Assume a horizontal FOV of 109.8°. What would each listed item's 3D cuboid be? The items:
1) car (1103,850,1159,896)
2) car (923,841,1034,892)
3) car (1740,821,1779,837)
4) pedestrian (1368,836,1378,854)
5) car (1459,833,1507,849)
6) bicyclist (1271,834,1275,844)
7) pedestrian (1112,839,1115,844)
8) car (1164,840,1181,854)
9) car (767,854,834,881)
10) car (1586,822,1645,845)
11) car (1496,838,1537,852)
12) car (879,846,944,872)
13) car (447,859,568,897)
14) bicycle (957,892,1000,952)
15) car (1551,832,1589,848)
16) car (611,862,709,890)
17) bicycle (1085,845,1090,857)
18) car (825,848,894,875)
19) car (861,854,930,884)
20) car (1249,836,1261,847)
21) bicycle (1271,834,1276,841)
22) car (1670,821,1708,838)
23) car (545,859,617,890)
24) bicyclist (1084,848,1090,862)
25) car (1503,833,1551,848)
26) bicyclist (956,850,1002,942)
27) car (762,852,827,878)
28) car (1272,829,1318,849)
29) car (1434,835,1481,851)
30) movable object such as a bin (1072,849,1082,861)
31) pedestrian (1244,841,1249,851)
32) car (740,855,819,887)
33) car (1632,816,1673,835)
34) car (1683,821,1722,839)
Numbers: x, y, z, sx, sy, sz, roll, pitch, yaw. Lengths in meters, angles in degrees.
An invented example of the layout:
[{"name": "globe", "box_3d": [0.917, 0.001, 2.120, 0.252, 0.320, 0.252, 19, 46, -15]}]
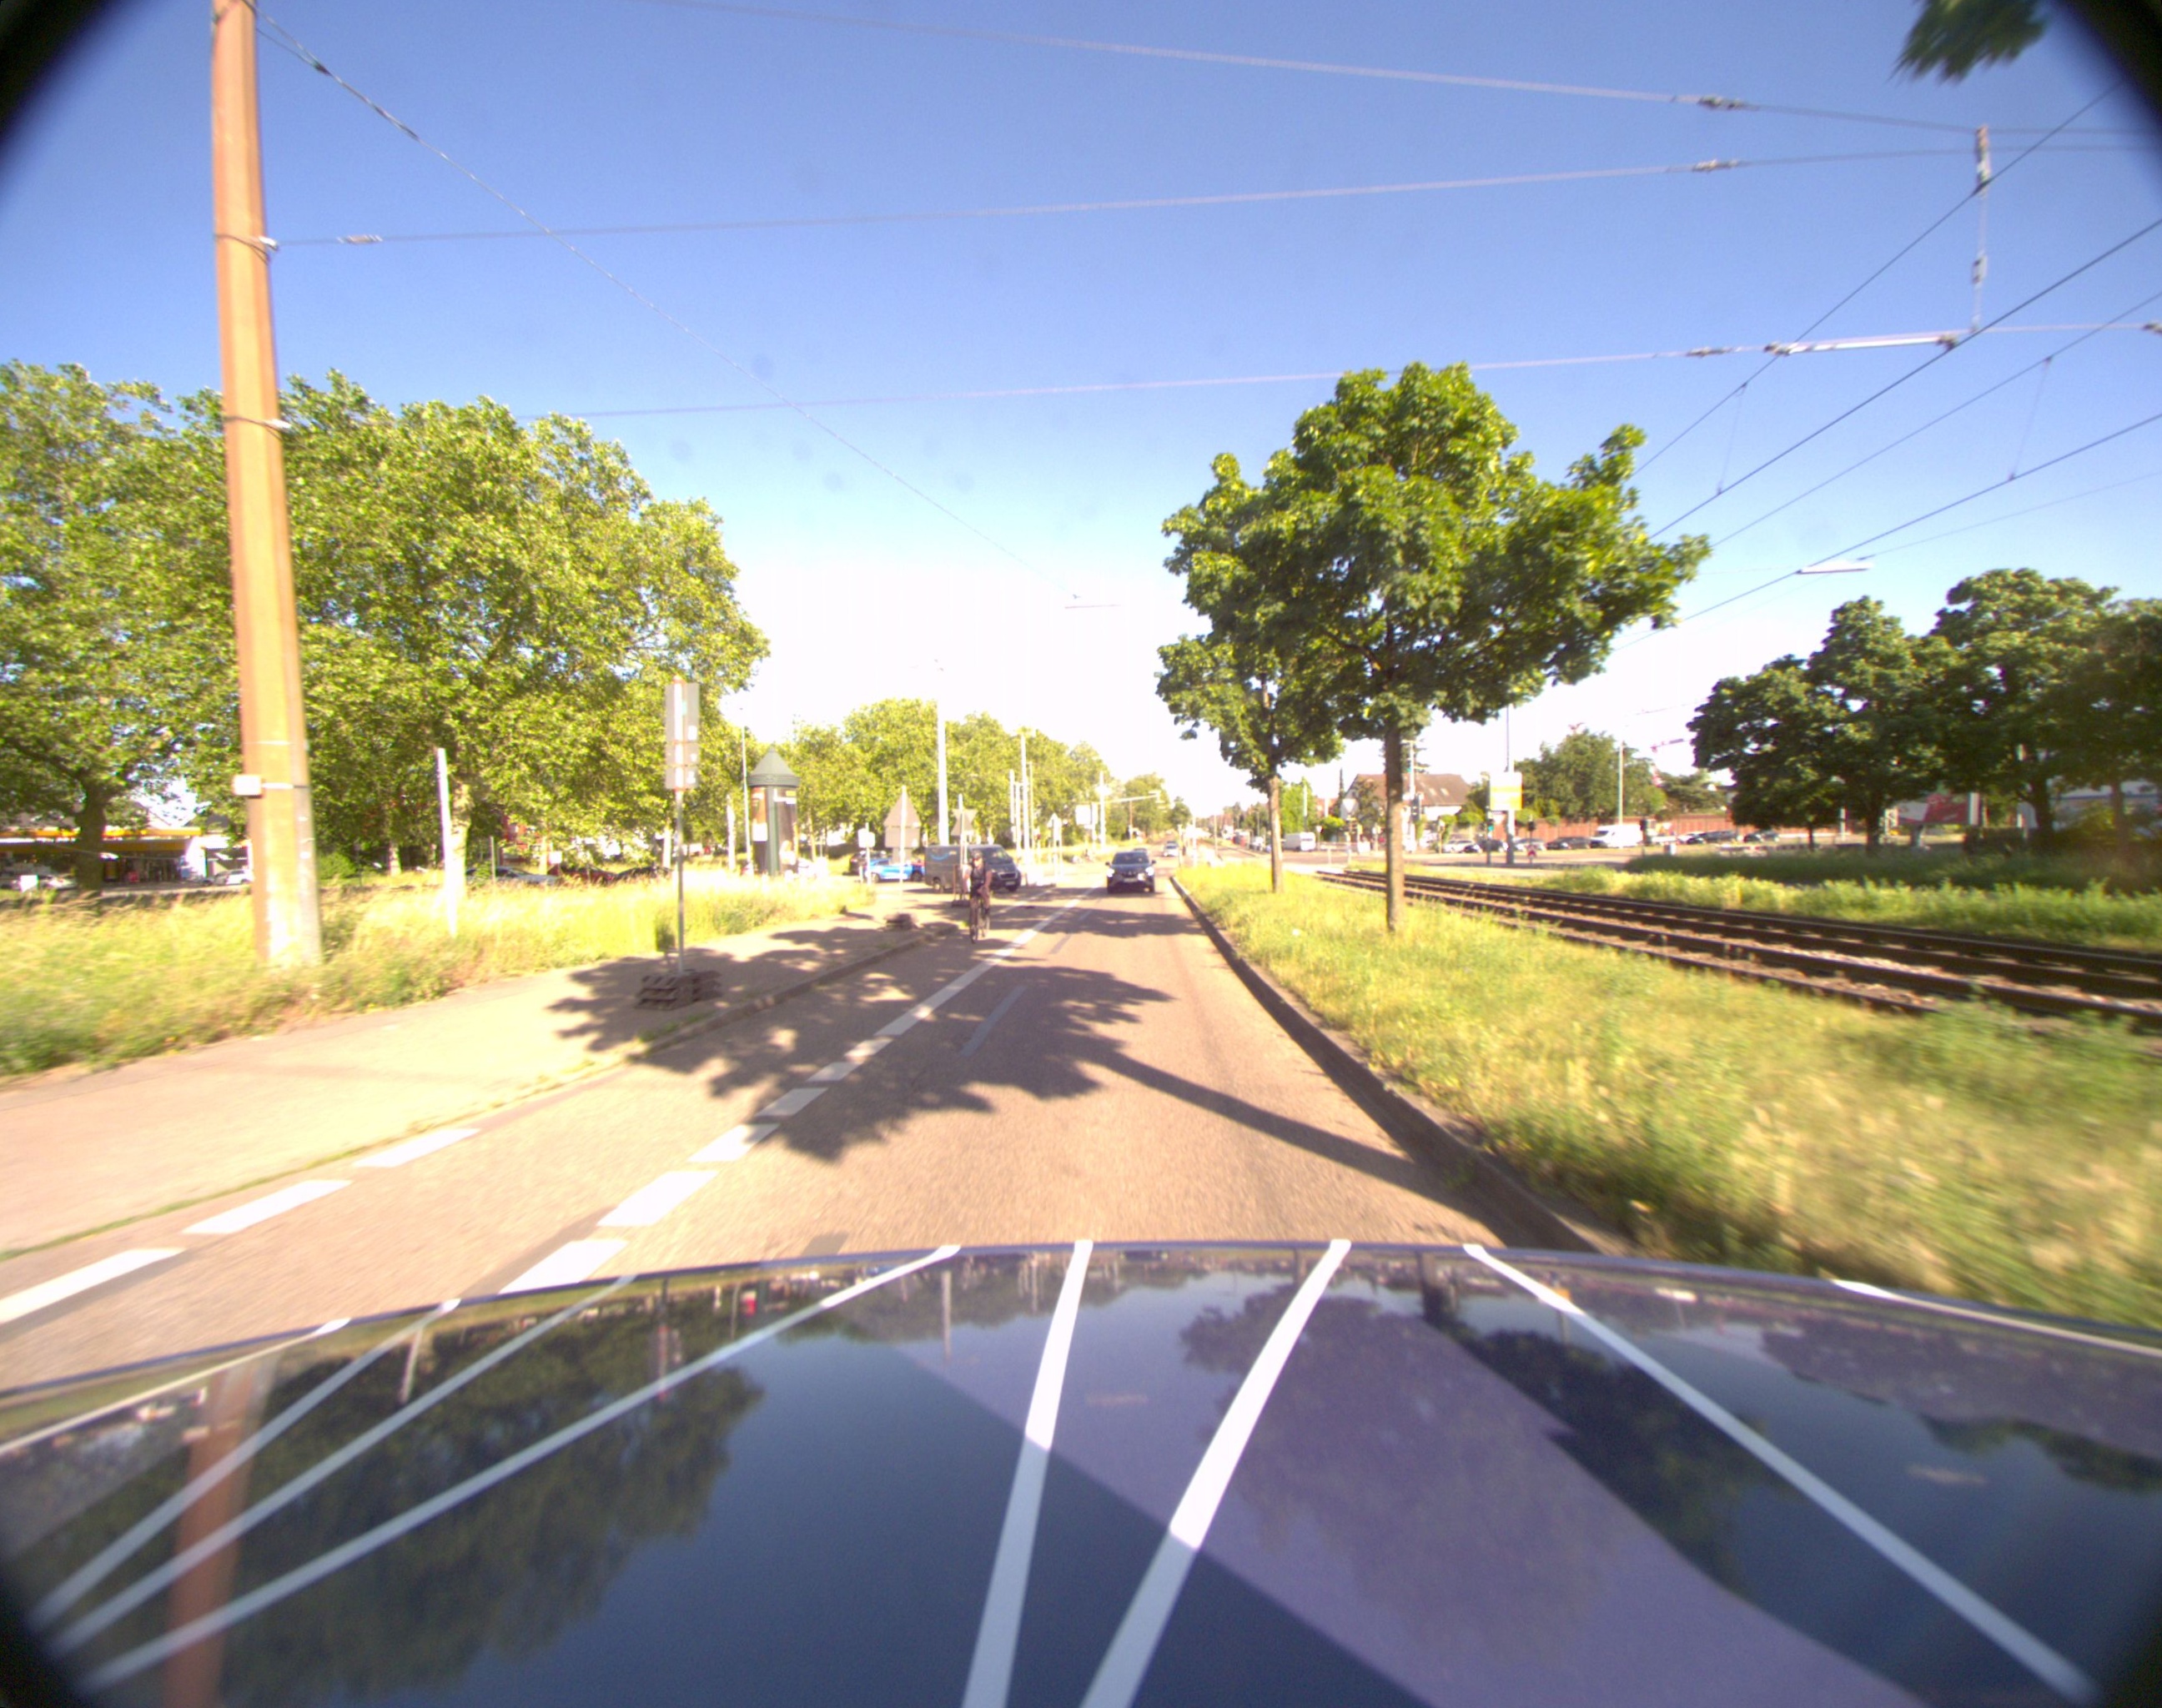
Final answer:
[{"name": "car", "box_3d": [1.967, 0.666, 28.972, 1.838, 1.542, 3.817, -1, 2, 8]}, {"name": "car", "box_3d": [-4.644, 0.493, 33.906, 5.104, 2.059, 2.135, 0, 2, 43]}, {"name": "car", "box_3d": [79.801, -2.930, 89.351, 4.004, 1.732, 1.805, -2, 1, -22]}, {"name": "pedestrian", "box_3d": [30.762, -0.965, 79.940, 0.612, 1.937, 0.774, -3, 2, -36]}, {"name": "car", "box_3d": [40.785, -1.292, 77.074, 4.252, 1.458, 1.934, -2, 2, -20]}, {"name": "bicyclist", "box_3d": [31.471, -2.523, 124.470, 0.490, 1.599, 0.648, -1, 2, 7]}, {"name": "pedestrian", "box_3d": [6.173, -2.431, 144.897, 0.482, 1.027, 0.454, -1, 2, 8]}, {"name": "car", "box_3d": [10.914, -0.825, 90.960, 1.881, 1.519, 4.421, -1, 2, 6]}, {"name": "car", "box_3d": [-18.004, 0.862, 48.947, 3.862, 1.591, 1.710, -2, 1, -17]}, {"name": "car", "box_3d": [57.914, -2.233, 82.313, 5.926, 2.397, 2.177, -2, 2, -18]}, {"name": "car", "box_3d": [47.366, -0.977, 82.631, 4.004, 1.469, 1.669, -2, 2, -20]}, {"name": "car", "box_3d": [-11.440, 0.291, 51.147, 4.093, 1.591, 1.813, -2, 2, -17]}, {"name": "car", "box_3d": [-30.818, 1.260, 41.031, 4.780, 1.673, 1.905, -3, 3, -20]}, {"name": "bicycle", "box_3d": [-1.955, 1.273, 14.735, 0.525, 0.918, 2.088, -1, 2, 0]}, {"name": "car", "box_3d": [51.521, -1.488, 80.099, 3.530, 1.559, 1.495, -2, 1, -18]}, {"name": "car", "box_3d": [-23.884, 1.208, 43.313, 4.574, 1.400, 1.931, -1, 1, -21]}, {"name": "bicycle", "box_3d": [0.669, -0.292, 75.131, 0.468, 1.112, 1.820, -1, 2, 1]}, {"name": "car", "box_3d": [-15.561, 0.509, 53.351, 4.499, 1.702, 1.917, -2, 2, -20]}, {"name": "car", "box_3d": [-11.418, 0.906, 46.806, 3.864, 1.591, 1.710, -3, 1, -23]}, {"name": "car", "box_3d": [27.815, -1.946, 121.619, 1.794, 1.678, 4.004, -1, 2, 12]}, {"name": "bicycle", "box_3d": [31.456, -2.710, 124.376, 0.508, 1.036, 1.949, -1, 2, 7]}, {"name": "car", "box_3d": [73.054, -2.952, 91.237, 4.004, 2.002, 1.804, -2, 2, -22]}, {"name": "car", "box_3d": [-29.286, 1.182, 44.580, 3.212, 1.608, 1.369, -2, 5, -21]}, {"name": "bicyclist", "box_3d": [0.611, 0.074, 74.546, 0.511, 1.333, 0.565, -1, 2, 1]}, {"name": "car", "box_3d": [46.152, -1.412, 78.617, 4.263, 1.458, 1.935, -2, 1, -20]}, {"name": "bicyclist", "box_3d": [-1.932, 0.780, 14.473, 0.616, 1.670, 0.933, -1, 2, 6]}, {"name": "car", "box_3d": [-19.416, 0.713, 51.617, 4.003, 1.608, 1.996, -2, 1, -20]}, {"name": "car", "box_3d": [28.151, -2.007, 100.070, 2.350, 2.444, 6.858, -2, 2, -19]}, {"name": "car", "box_3d": [39.629, -1.171, 79.953, 4.640, 1.469, 1.669, -2, 2, -20]}, {"name": "movable object such as a bin", "box_3d": [-0.400, 0.104, 73.613, 0.911, 1.062, 1.316, -1, 2, 1]}, {"name": "pedestrian", "box_3d": [24.991, -1.180, 114.805, 0.623, 1.406, 0.711, -1, 1, 5]}, {"name": "car", "box_3d": [-17.690, 0.973, 44.751, 4.179, 1.669, 1.931, -2, 1, -21]}, {"name": "car", "box_3d": [63.532, -3.129, 84.500, 4.004, 2.002, 1.805, -2, 2, -21]}, {"name": "car", "box_3d": [71.380, -2.783, 87.279, 4.004, 2.002, 1.804, -2, 2, -22]}]
